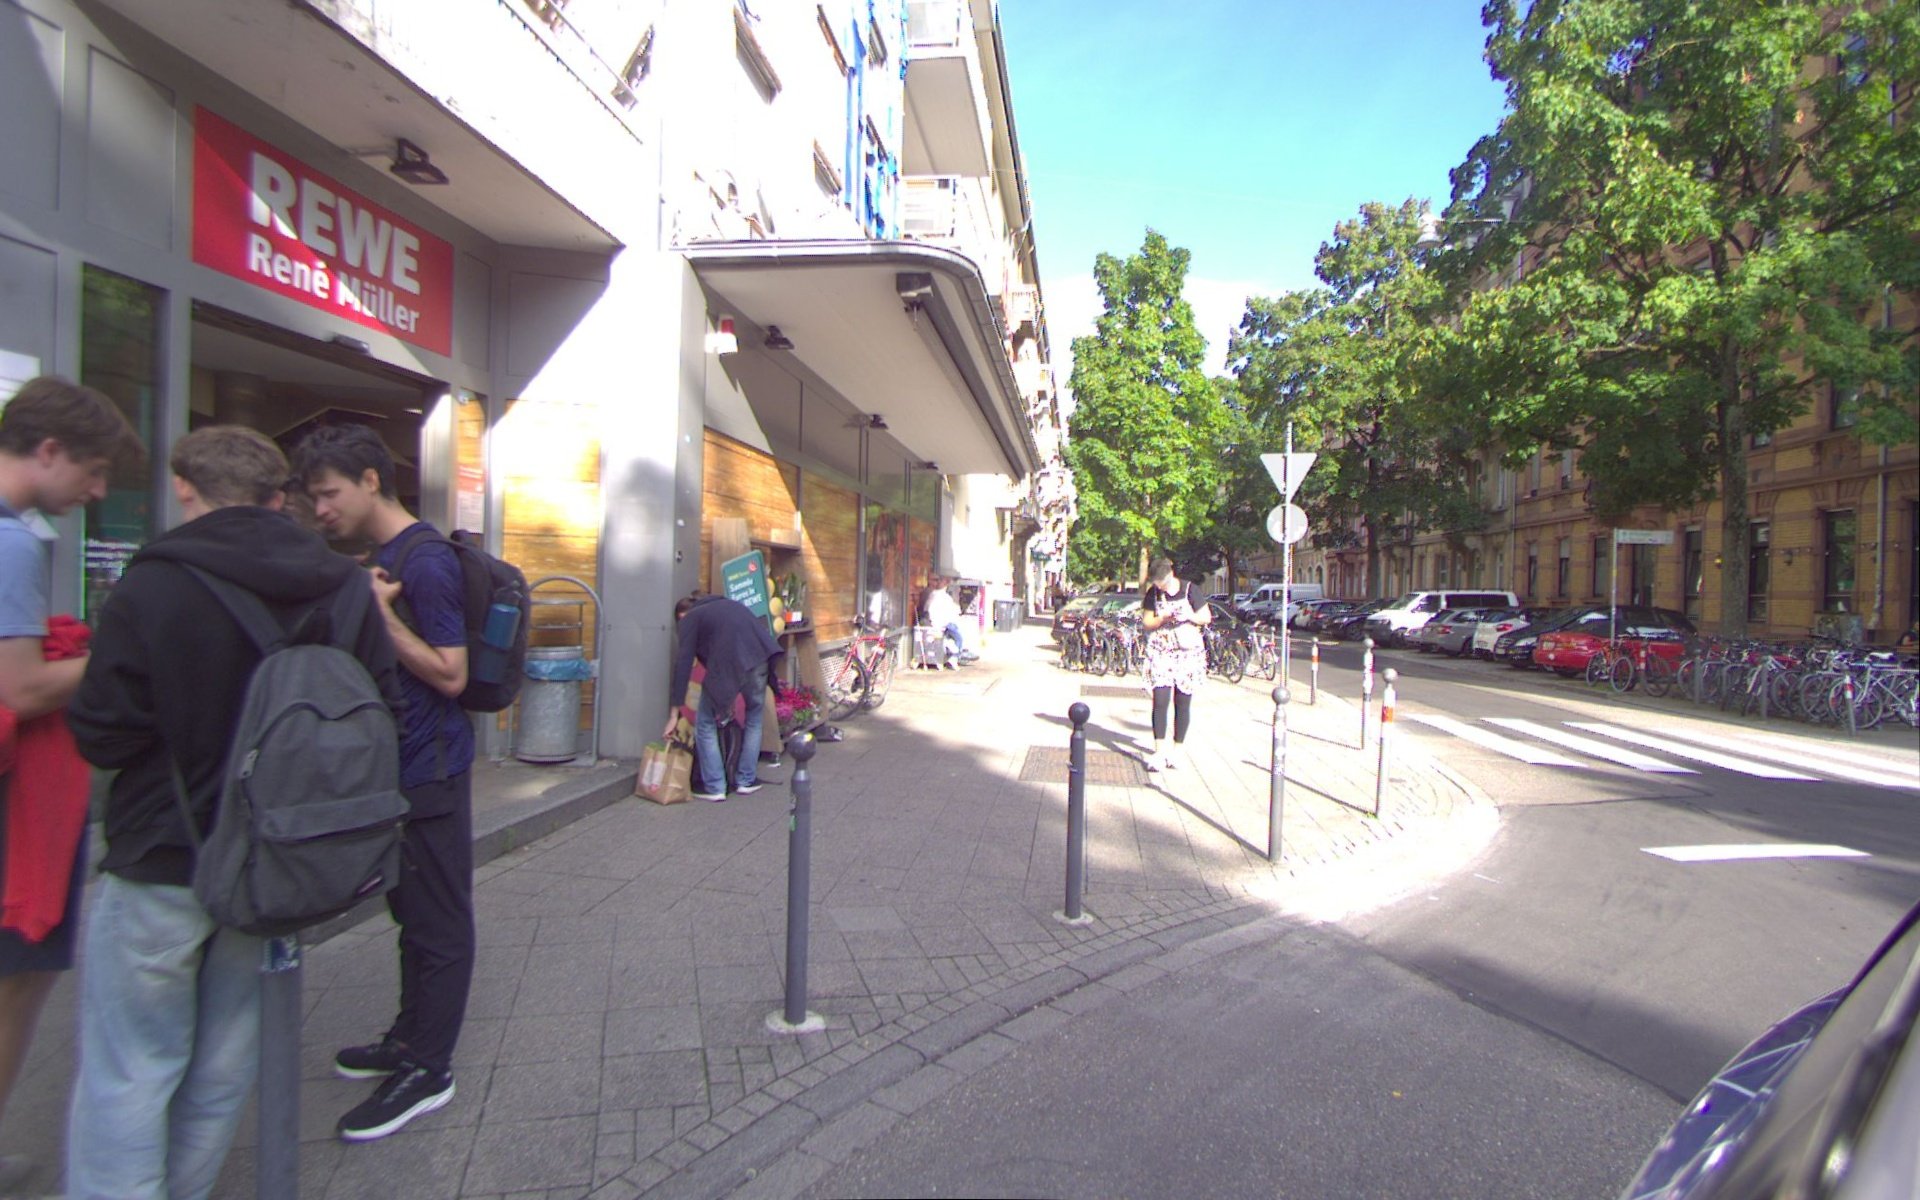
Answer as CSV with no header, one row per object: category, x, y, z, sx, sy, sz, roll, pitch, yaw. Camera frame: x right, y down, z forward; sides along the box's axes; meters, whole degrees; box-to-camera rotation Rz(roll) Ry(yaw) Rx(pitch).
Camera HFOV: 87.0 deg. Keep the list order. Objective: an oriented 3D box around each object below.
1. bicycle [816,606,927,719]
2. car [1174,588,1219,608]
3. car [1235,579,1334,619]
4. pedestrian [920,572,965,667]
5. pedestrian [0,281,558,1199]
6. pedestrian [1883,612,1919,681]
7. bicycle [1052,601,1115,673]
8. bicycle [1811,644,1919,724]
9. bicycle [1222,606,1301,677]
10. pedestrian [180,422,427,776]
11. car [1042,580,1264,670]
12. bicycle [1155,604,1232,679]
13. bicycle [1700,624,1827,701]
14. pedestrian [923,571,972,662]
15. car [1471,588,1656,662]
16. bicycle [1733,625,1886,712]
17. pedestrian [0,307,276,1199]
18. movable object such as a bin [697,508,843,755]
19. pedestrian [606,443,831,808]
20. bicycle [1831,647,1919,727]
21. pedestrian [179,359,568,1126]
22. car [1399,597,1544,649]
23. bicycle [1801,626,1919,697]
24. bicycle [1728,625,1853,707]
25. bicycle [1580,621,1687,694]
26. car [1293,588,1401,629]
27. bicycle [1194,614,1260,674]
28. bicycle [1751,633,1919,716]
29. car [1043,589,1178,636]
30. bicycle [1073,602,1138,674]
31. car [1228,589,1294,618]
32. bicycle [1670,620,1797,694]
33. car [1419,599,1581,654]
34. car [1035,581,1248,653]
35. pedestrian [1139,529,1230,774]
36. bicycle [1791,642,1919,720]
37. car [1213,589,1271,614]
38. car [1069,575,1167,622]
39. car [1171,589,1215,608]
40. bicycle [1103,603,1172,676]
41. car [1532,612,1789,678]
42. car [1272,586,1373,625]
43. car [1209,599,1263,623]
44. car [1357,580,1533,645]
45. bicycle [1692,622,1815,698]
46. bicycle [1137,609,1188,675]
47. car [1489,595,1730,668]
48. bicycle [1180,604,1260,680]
bicycle,-0.896,0.609,10.622,0.575,1.045,1.527,3,1,17
car,22.279,-0.190,95.327,3.932,1.754,1.825,1,-1,8
car,19.546,-0.056,61.116,5.392,2.229,1.995,1,-1,9
pedestrian,-0.282,0.308,16.702,0.656,1.525,0.753,2,0,2
pedestrian,-1.341,0.381,2.027,0.707,1.818,0.627,5,3,24
pedestrian,18.361,0.882,19.380,0.756,1.301,0.628,-1,0,7
bicycle,2.102,0.614,17.460,0.412,1.099,1.703,2,2,-15
bicycle,12.633,1.129,13.649,1.692,0.999,0.445,0,1,22
bicycle,5.578,0.736,18.831,0.404,1.190,1.857,2,1,-17
pedestrian,-3.634,-0.019,5.625,0.921,1.775,0.758,2,0,26
car,3.845,0.480,20.455,3.917,1.473,1.814,4,1,-10
bicycle,4.051,0.692,17.707,0.404,1.190,1.857,2,1,-17
bicycle,13.001,1.007,16.399,1.680,1.216,0.448,0,1,0
pedestrian,-0.209,0.274,17.539,0.740,1.525,0.667,2,0,5
car,15.474,0.634,26.130,3.648,1.743,1.855,1,-1,10
bicycle,12.703,1.011,15.181,1.692,1.216,0.445,0,1,22
pedestrian,-1.965,0.370,2.036,0.624,1.818,0.711,4,3,16
movable object such as a bin,-1.493,0.221,8.220,0.679,1.776,1.547,3,1,5
pedestrian,-1.510,0.131,6.300,1.015,2.038,0.863,2,2,-38
bicycle,12.530,1.145,13.205,1.692,0.981,0.445,0,1,22
pedestrian,-1.532,0.343,2.746,0.646,1.818,0.656,3,3,-4
car,15.771,0.702,31.377,3.648,1.476,1.665,-1,1,10
bicycle,15.207,1.011,16.839,1.772,1.128,0.598,0,1,13
bicycle,12.992,1.022,15.841,1.678,1.216,0.449,0,1,-5
bicycle,12.143,0.999,18.347,0.572,1.109,2.494,-2,1,9
car,18.425,0.388,48.353,4.380,1.856,1.934,-1,1,5
bicycle,4.919,0.799,18.730,0.482,1.014,1.426,2,0,-17
bicycle,12.708,1.051,14.561,2.021,1.102,0.445,0,1,22
car,5.506,0.465,37.003,4.532,1.514,1.754,2,0,-20
bicycle,2.473,0.623,17.358,0.412,1.099,1.703,2,2,-15
car,20.550,0.251,69.257,4.058,1.898,1.995,1,-1,9
bicycle,13.261,0.967,17.391,1.686,1.216,0.446,0,1,13
car,15.121,0.735,28.518,3.648,1.476,1.664,-1,-1,10
car,4.239,0.397,23.485,4.570,1.473,1.960,3,0,-27
pedestrian,1.739,0.369,7.876,0.604,1.775,0.839,2,0,13
bicycle,12.704,1.118,14.083,1.692,0.999,0.445,0,1,22
car,21.268,0.141,76.378,3.932,1.754,1.825,1,-1,8
car,8.424,-0.084,54.004,4.710,2.249,2.152,3,0,-23
car,22.445,-0.165,97.680,3.932,1.754,1.825,1,-1,8
bicycle,3.009,0.654,17.315,0.412,1.099,1.703,2,2,-15
car,14.254,0.892,20.780,4.041,1.286,1.565,0,-1,7
car,18.169,0.260,50.874,4.380,1.856,1.934,-1,1,5
car,22.040,0.873,80.931,3.932,1.754,1.825,1,-1,8
car,16.048,0.389,33.733,4.825,2.014,2.044,-1,1,5
bicycle,13.199,0.992,16.848,1.680,1.216,0.448,0,1,0
bicycle,3.489,0.708,17.528,0.405,1.031,1.504,2,0,-5
car,14.875,0.700,23.463,4.249,1.590,1.998,0,-1,15
bicycle,4.495,0.698,17.622,0.404,1.190,1.857,2,1,-17
